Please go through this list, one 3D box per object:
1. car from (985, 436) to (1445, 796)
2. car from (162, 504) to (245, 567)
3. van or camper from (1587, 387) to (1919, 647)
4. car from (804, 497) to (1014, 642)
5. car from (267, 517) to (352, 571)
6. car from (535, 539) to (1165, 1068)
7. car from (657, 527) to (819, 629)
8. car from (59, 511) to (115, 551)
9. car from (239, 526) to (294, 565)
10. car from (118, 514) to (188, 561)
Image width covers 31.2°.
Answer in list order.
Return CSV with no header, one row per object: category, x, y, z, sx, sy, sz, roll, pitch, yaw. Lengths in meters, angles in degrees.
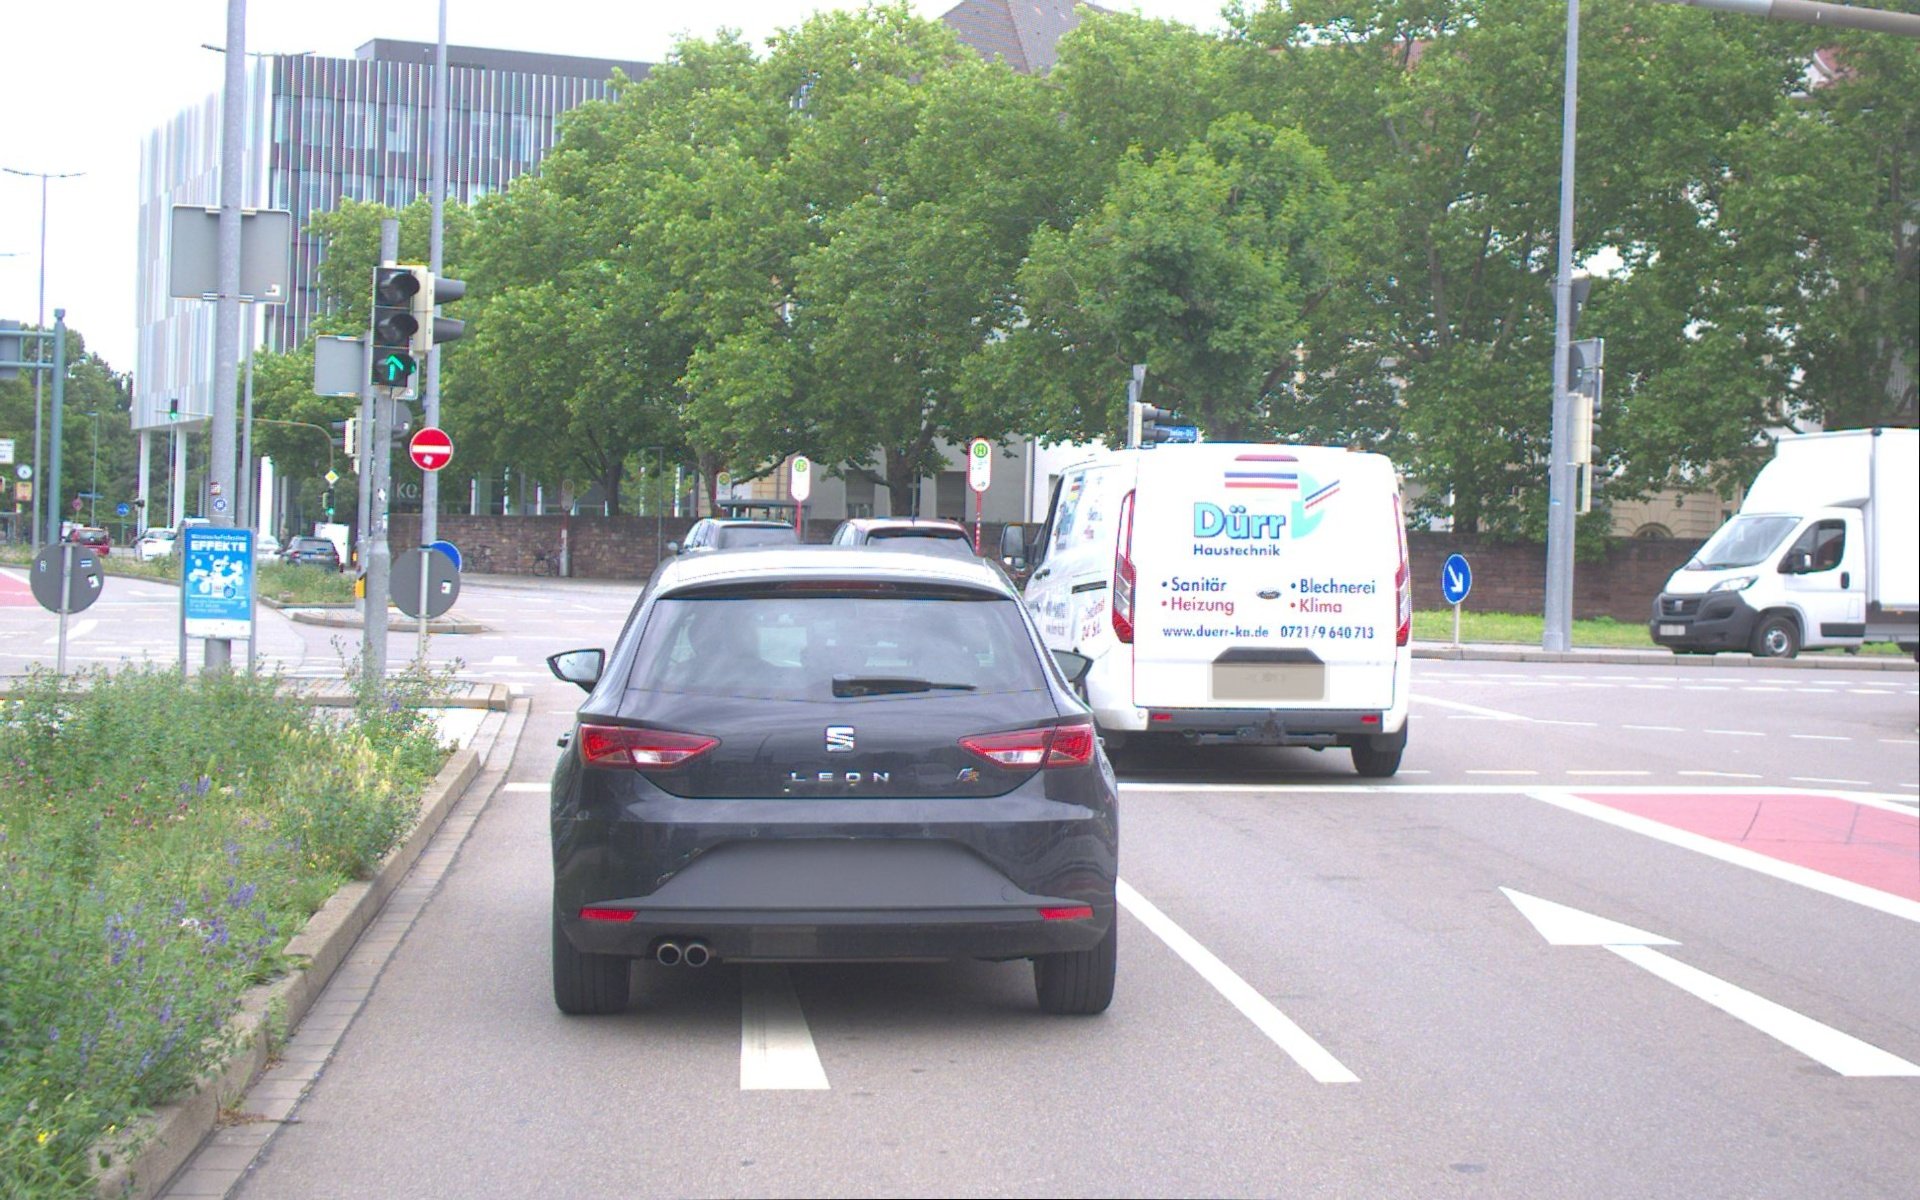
car,1.484,0.042,22.164,1.993,2.012,5.033,1,1,-7
car,-25.467,-2.183,115.646,1.993,2.007,4.001,1,1,-22
van or camper,12.434,-1.042,46.966,7.127,3.321,2.877,1,0,-21
car,-0.668,-0.390,41.079,1.857,1.595,4.206,1,1,-10
car,-21.582,-1.867,113.938,1.917,1.678,4.001,1,1,-23
car,-0.483,0.569,11.714,1.745,1.459,4.001,2,0,-5
car,-3.704,-0.386,56.711,1.993,1.560,4.206,1,1,-13
car,-38.277,-3.019,150.691,1.993,1.676,4.012,1,1,-20
car,-25.241,-1.995,125.028,1.525,1.360,2.970,1,1,-19
car,-29.841,-2.305,127.002,1.993,1.634,4.001,1,1,-21
